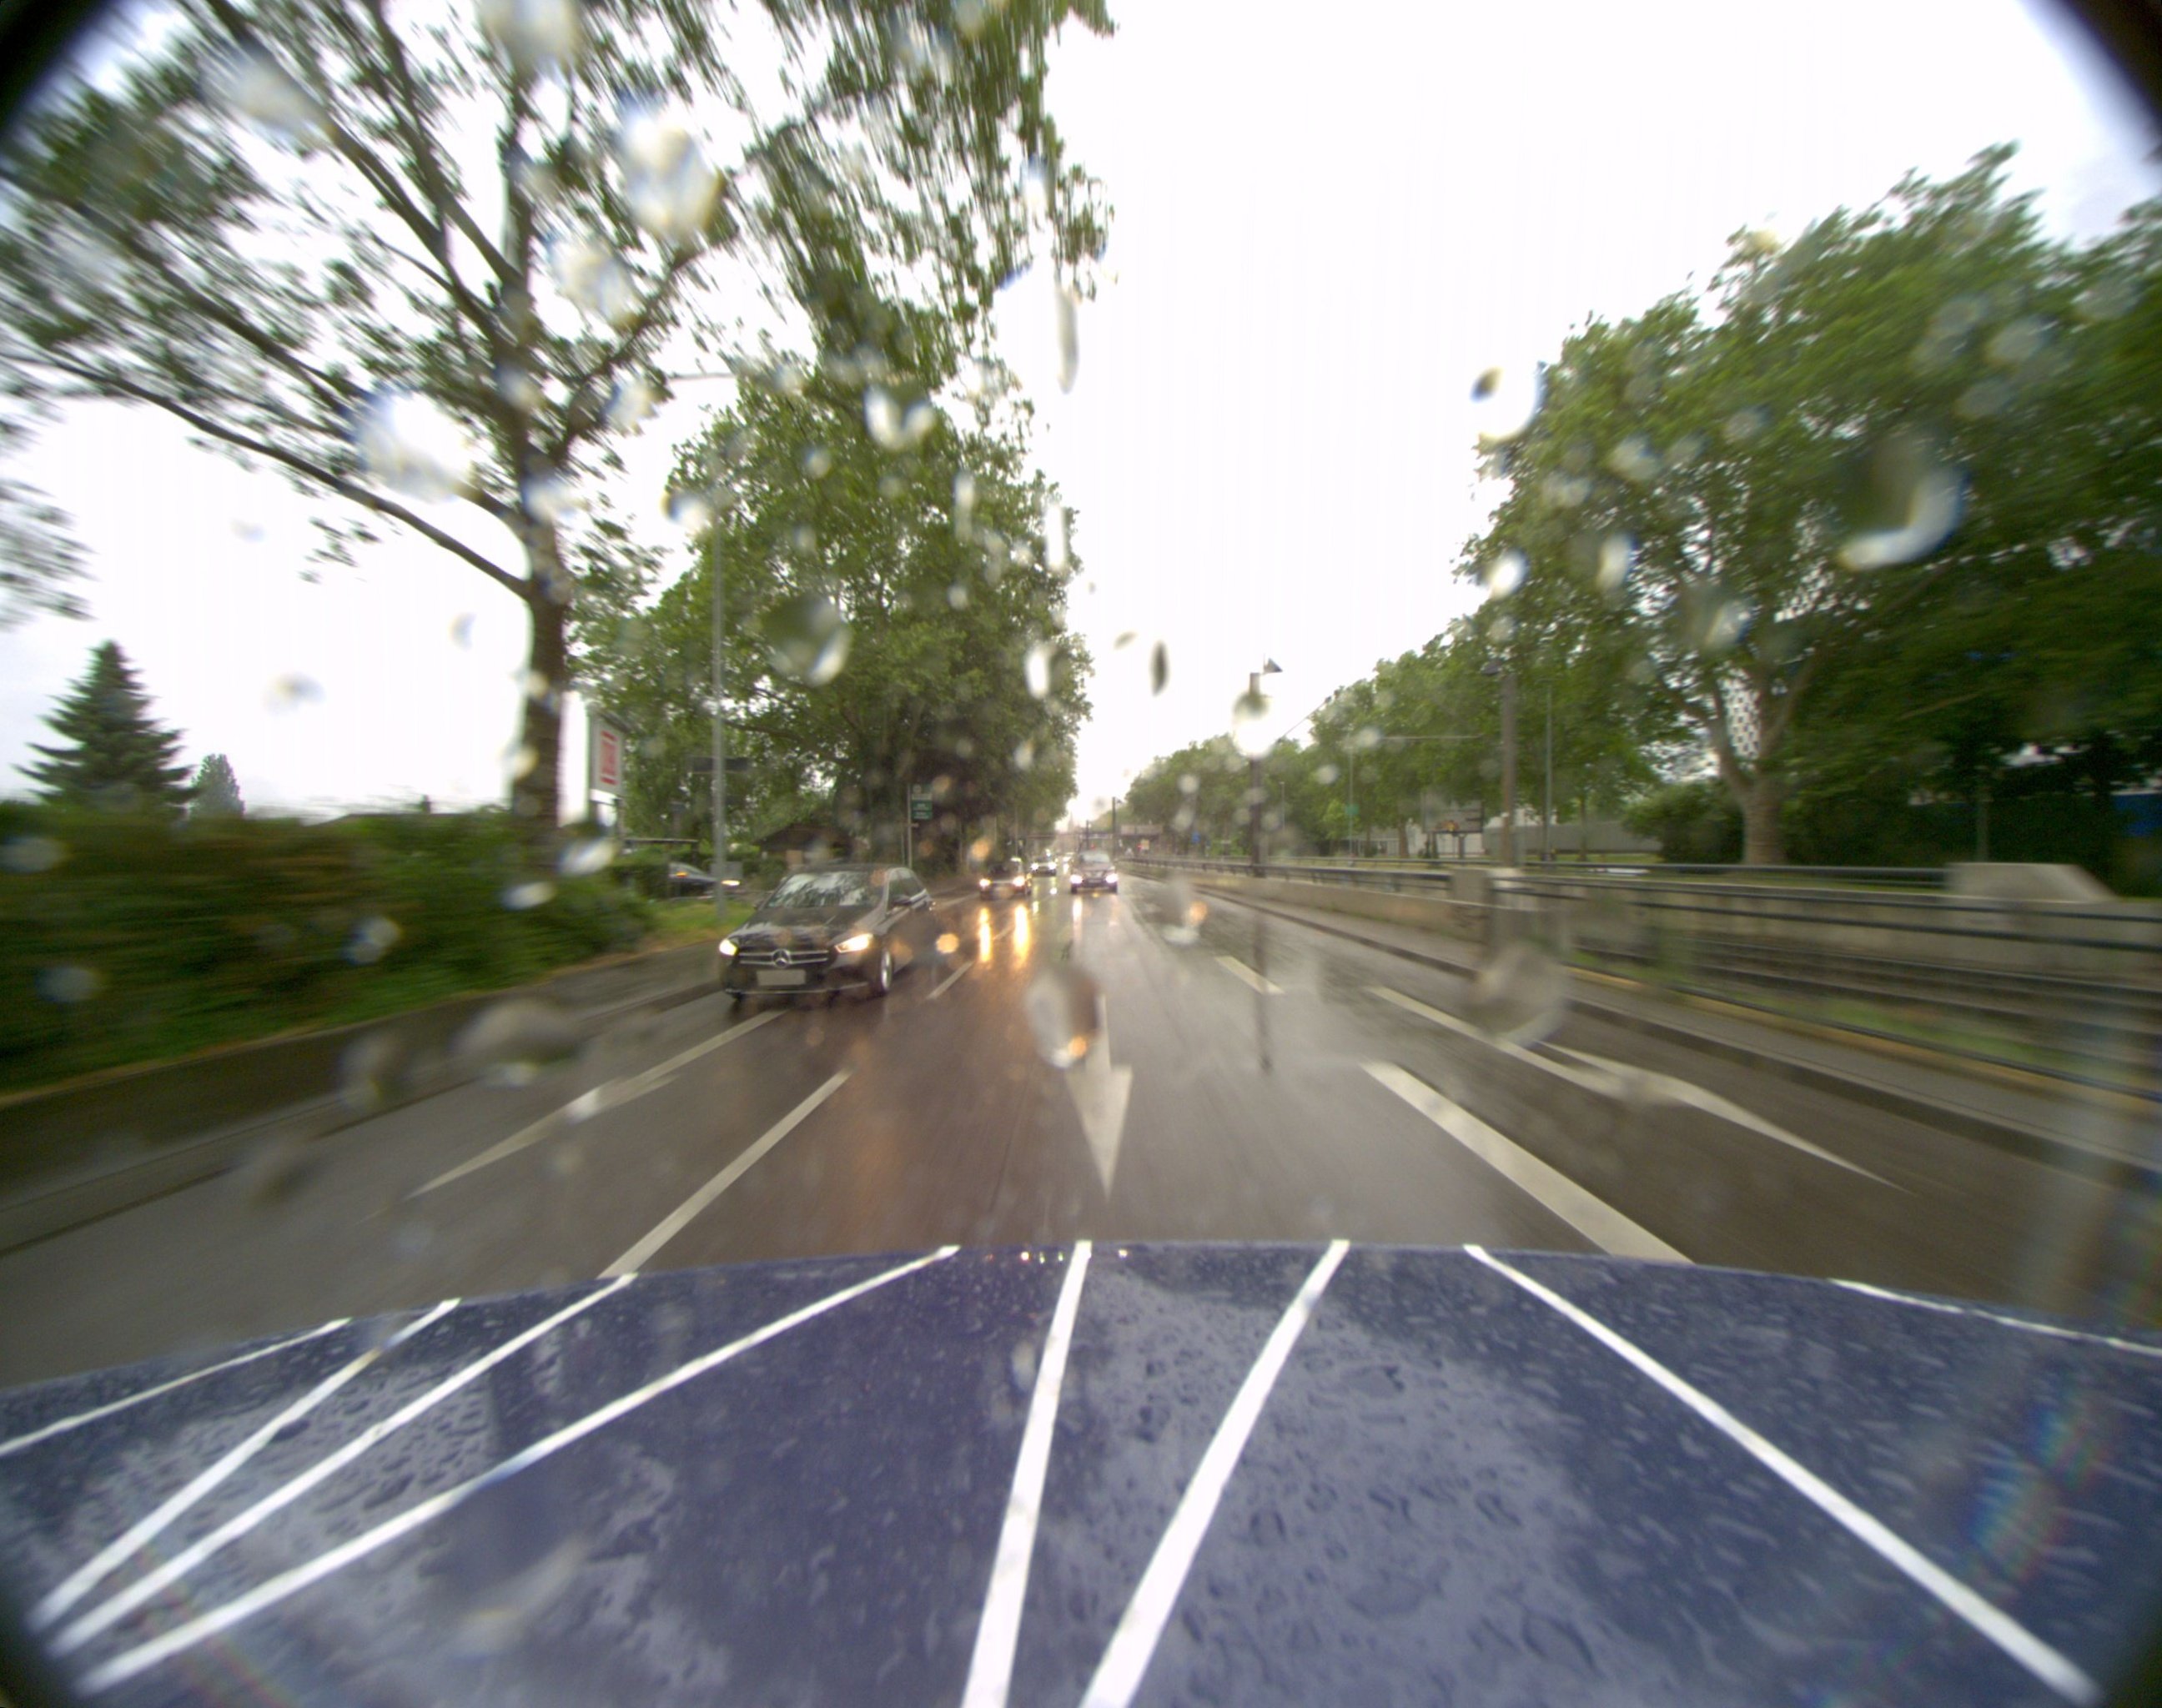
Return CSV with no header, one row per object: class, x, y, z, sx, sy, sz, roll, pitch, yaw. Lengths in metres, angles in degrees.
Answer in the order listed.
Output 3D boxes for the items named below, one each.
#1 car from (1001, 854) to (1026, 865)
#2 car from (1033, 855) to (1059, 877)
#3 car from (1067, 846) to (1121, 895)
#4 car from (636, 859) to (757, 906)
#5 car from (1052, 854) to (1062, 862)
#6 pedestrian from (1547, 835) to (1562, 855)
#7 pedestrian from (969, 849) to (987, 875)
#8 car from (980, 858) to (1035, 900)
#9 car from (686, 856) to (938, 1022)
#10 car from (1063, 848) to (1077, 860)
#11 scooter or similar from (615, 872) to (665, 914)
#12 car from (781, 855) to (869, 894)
car,-9.468,0.777,106.420,1.611,1.423,3.546,-4,1,-43
car,-2.554,0.837,55.616,1.821,1.521,4.157,-1,0,-2
car,0.525,0.643,30.725,1.975,1.794,4.158,-2,0,0
car,-13.321,0.963,26.498,3.392,1.488,1.657,-2,-1,-12
car,-4.850,0.806,151.940,1.870,1.689,4.157,-1,0,-3
pedestrian,48.647,-0.930,78.113,1.004,2.002,0.790,-3,1,-1
pedestrian,-7.054,0.529,51.960,0.969,1.693,1.140,-3,2,-1
car,-2.736,0.904,28.975,1.641,1.377,3.781,-2,1,0
car,-3.101,0.855,9.816,1.821,1.521,4.420,-3,1,-3
car,-1.618,-0.013,108.812,1.870,1.689,4.424,-1,0,-3
scooter or similar,-12.751,1.101,21.992,0.459,1.111,1.276,-3,1,13
car,-11.213,0.896,33.489,3.392,1.599,1.657,-2,-1,-10
